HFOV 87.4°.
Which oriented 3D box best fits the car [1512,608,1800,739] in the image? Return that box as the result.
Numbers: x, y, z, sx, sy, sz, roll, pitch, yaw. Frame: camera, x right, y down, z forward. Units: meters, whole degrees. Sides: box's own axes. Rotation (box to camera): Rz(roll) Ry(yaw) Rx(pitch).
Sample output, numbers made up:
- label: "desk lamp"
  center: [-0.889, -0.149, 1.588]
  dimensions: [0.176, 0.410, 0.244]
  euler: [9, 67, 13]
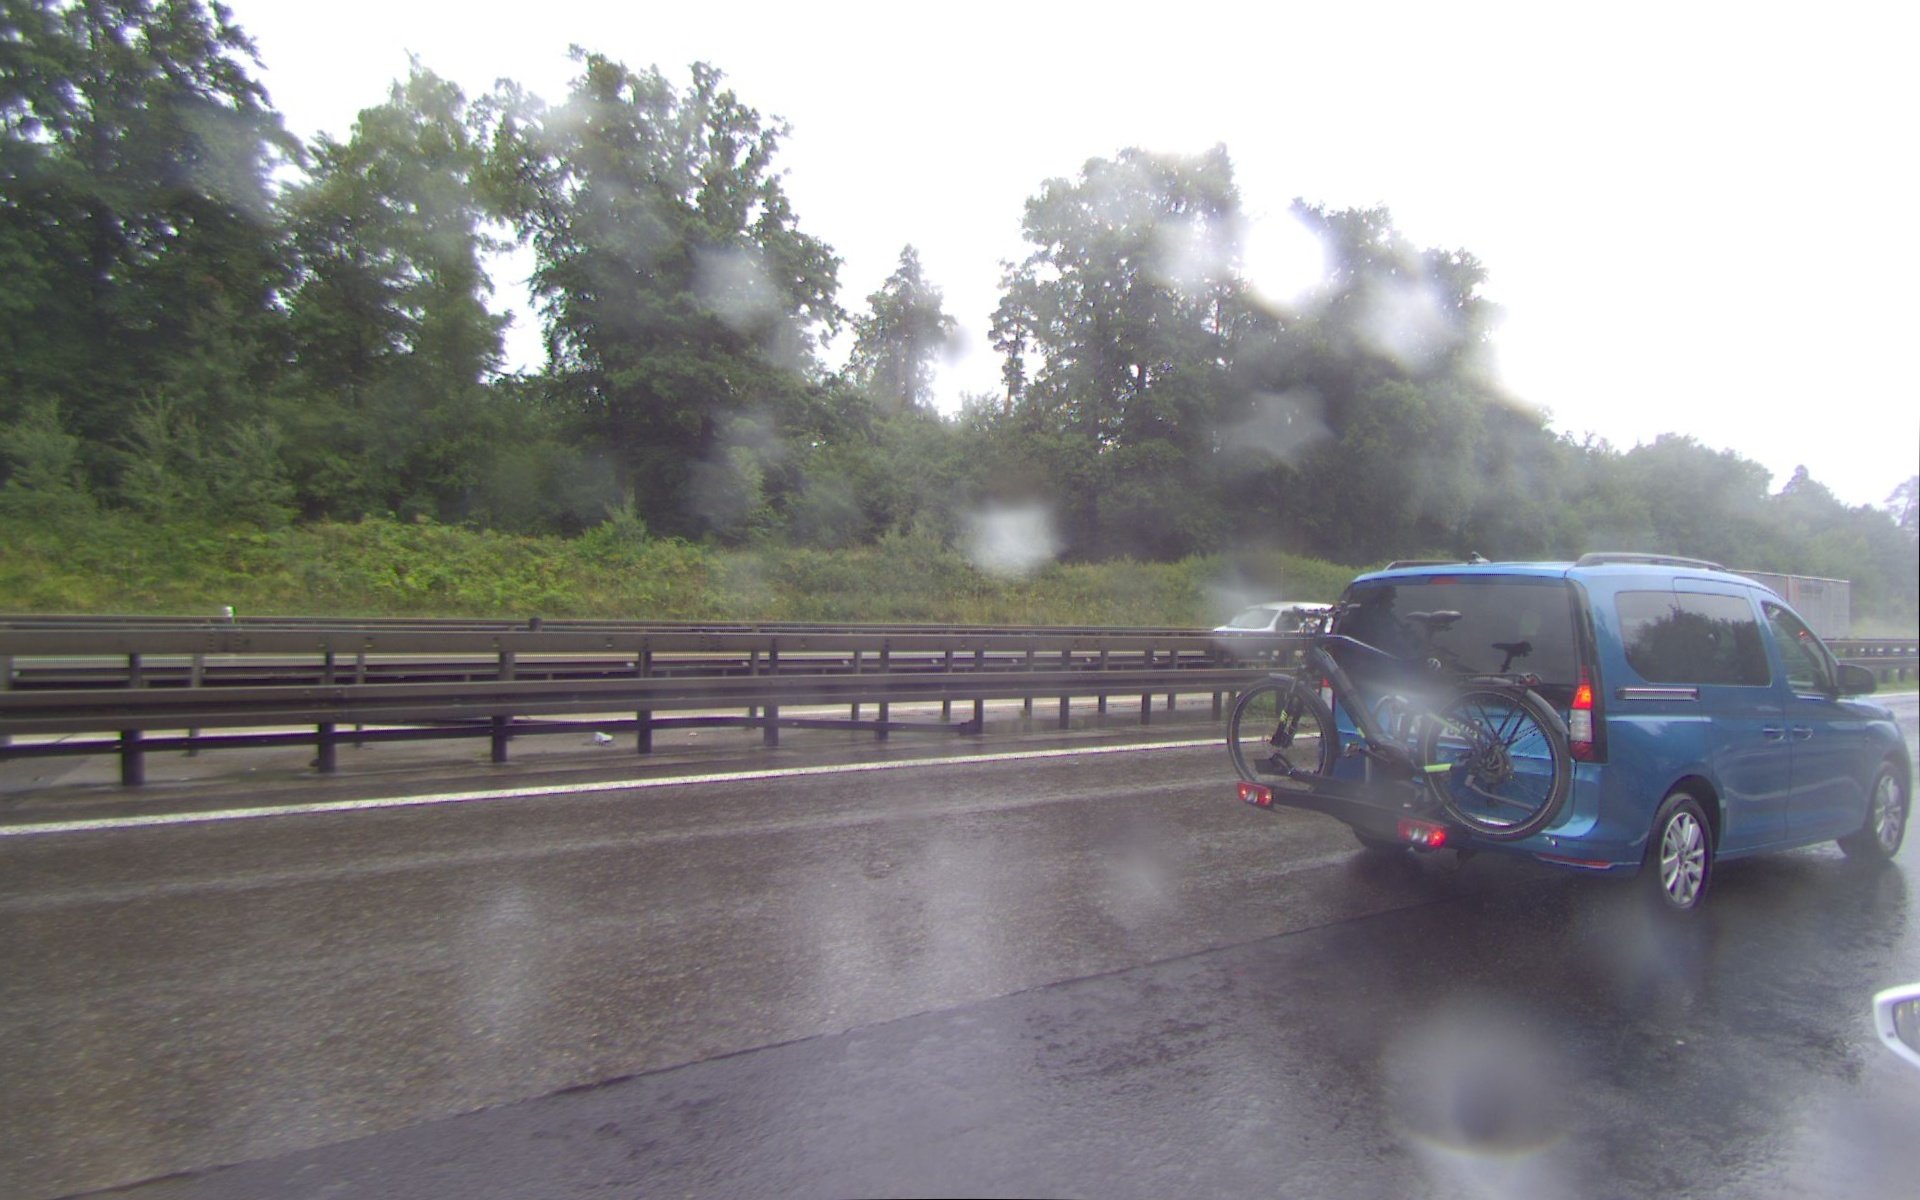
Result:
- label: "car"
  center: [10.133, 0.959, 14.534]
  dimensions: [4.417, 1.613, 1.835]
  euler: [1, 0, -32]

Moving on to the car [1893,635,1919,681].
- label: "car"
  center: [34.474, 1.990, 34.697]
  dimensions: [4.700, 1.524, 2.080]
  euler: [1, -2, -31]

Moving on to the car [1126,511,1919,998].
- label: "car"
  center: [3.704, 0.650, 6.192]
  dimensions: [4.954, 1.937, 2.260]
  euler: [1, 0, -29]

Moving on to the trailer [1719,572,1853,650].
- label: "trailer"
  center: [44.010, 0.642, 53.429]
  dimensions: [8.902, 3.869, 2.669]
  euler: [1, 0, -31]

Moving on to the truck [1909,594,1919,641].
- label: "truck"
  center: [81.785, 1.495, 83.270]
  dimensions: [6.193, 3.869, 3.004]
  euler: [1, 0, -32]

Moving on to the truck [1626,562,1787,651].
- label: "truck"
  center: [36.311, 0.399, 48.686]
  dimensions: [9.912, 3.984, 2.690]
  euler: [1, 0, -31]

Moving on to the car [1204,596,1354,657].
- label: "car"
  center: [9.043, 0.746, 28.417]
  dimensions: [3.952, 1.617, 1.852]
  euler: [1, 0, -29]
